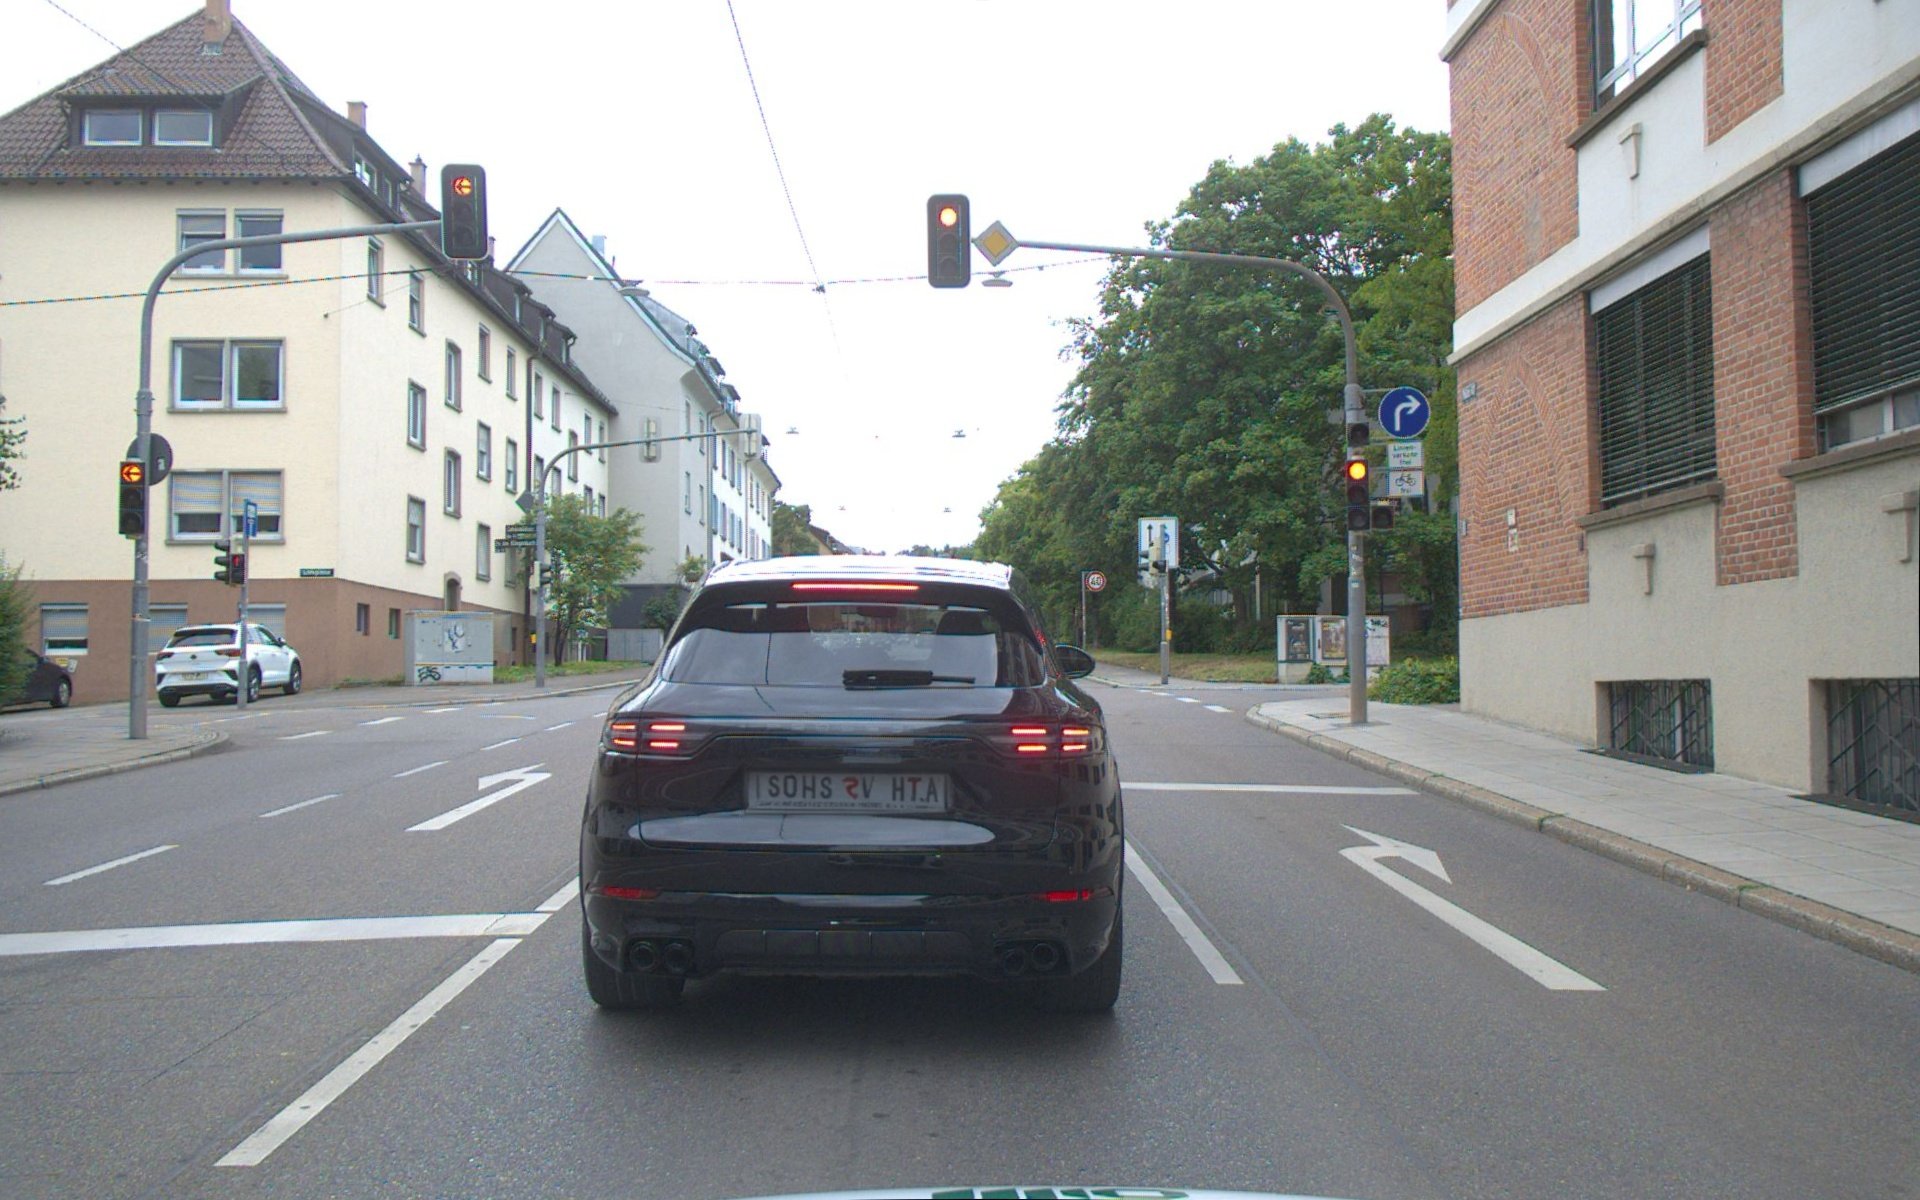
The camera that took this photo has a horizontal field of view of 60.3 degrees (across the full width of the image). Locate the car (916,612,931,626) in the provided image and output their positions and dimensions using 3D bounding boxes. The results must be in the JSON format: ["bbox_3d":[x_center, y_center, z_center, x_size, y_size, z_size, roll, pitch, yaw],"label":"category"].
[{"bbox_3d":[-4.599,2.412,210.166,1.790,1.633,4.134,1,0,-1],"label":"car"}]

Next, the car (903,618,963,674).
[{"bbox_3d":[-0.838,1.432,52.507,1.790,1.633,3.858,1,0,-1],"label":"car"}]

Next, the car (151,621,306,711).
[{"bbox_3d":[-14.722,1.282,33.492,1.658,1.582,3.762,-3,0,-5],"label":"car"}]

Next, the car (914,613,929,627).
[{"bbox_3d":[-4.673,2.462,202.839,1.790,1.633,4.134,1,0,-1],"label":"car"}]

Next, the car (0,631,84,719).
[{"bbox_3d":[-19.627,1.530,33.765,1.658,1.636,3.762,-3,0,-5],"label":"car"}]

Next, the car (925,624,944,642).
[{"bbox_3d":[-2.492,3.274,163.222,1.790,1.633,4.134,1,0,-1],"label":"car"}]

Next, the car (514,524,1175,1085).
[{"bbox_3d":[-0.372,0.627,7.236,2.007,1.695,4.266,1,0,-1],"label":"car"}]

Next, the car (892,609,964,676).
[{"bbox_3d":[-0.835,1.078,43.794,1.790,1.633,4.134,1,0,-1],"label":"car"}]

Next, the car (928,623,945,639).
[{"bbox_3d":[-2.559,3.439,182.395,1.790,1.633,4.134,1,0,-1],"label":"car"}]

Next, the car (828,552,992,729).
[{"bbox_3d":[-0.620,0.481,21.883,1.925,2.078,4.134,1,0,-1],"label":"car"}]
